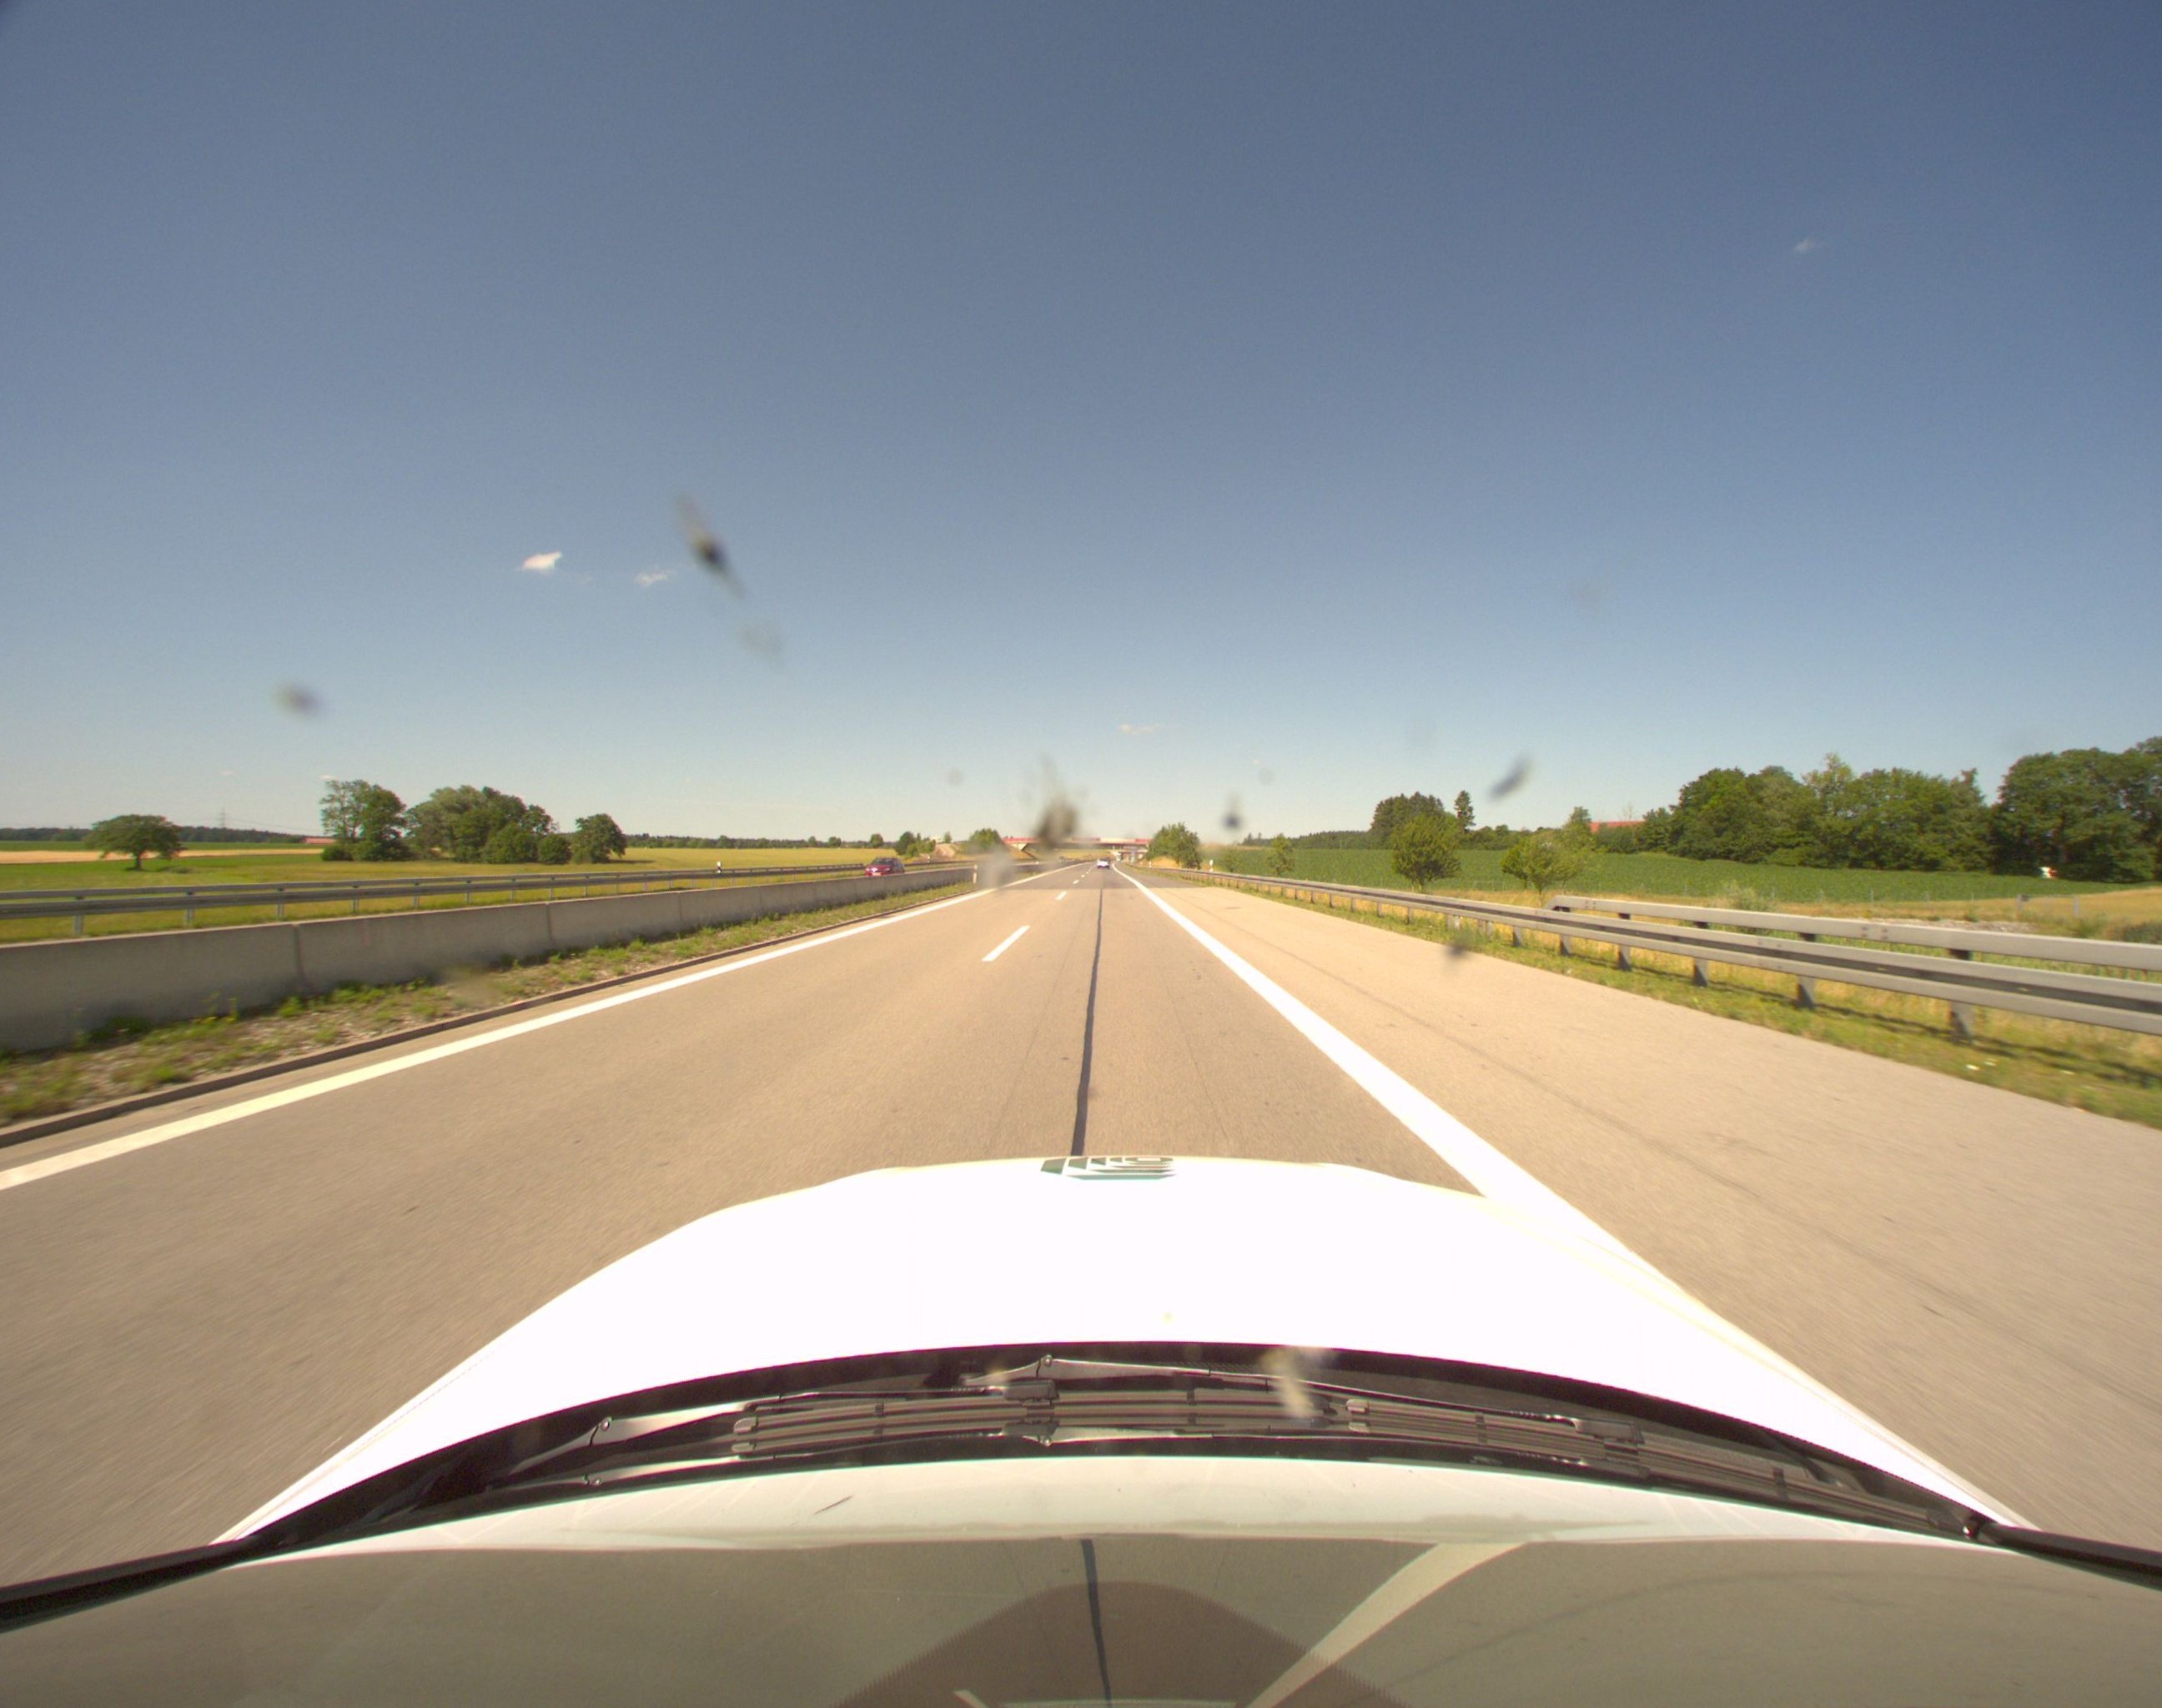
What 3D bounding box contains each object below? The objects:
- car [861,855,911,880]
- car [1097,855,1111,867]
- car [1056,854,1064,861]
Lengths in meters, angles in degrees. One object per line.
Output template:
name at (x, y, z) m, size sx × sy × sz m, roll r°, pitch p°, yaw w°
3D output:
car at (-12.578, 0.857, 52.791) m, size 1.891 × 1.523 × 4.807 m, roll -2°, pitch 0°, yaw 2°
car at (3.492, 1.020, 124.454) m, size 1.987 × 1.731 × 4.868 m, roll 0°, pitch 0°, yaw 0°
car at (-5.672, 0.859, 221.446) m, size 1.900 × 1.685 × 5.009 m, roll 3°, pitch 0°, yaw 2°
